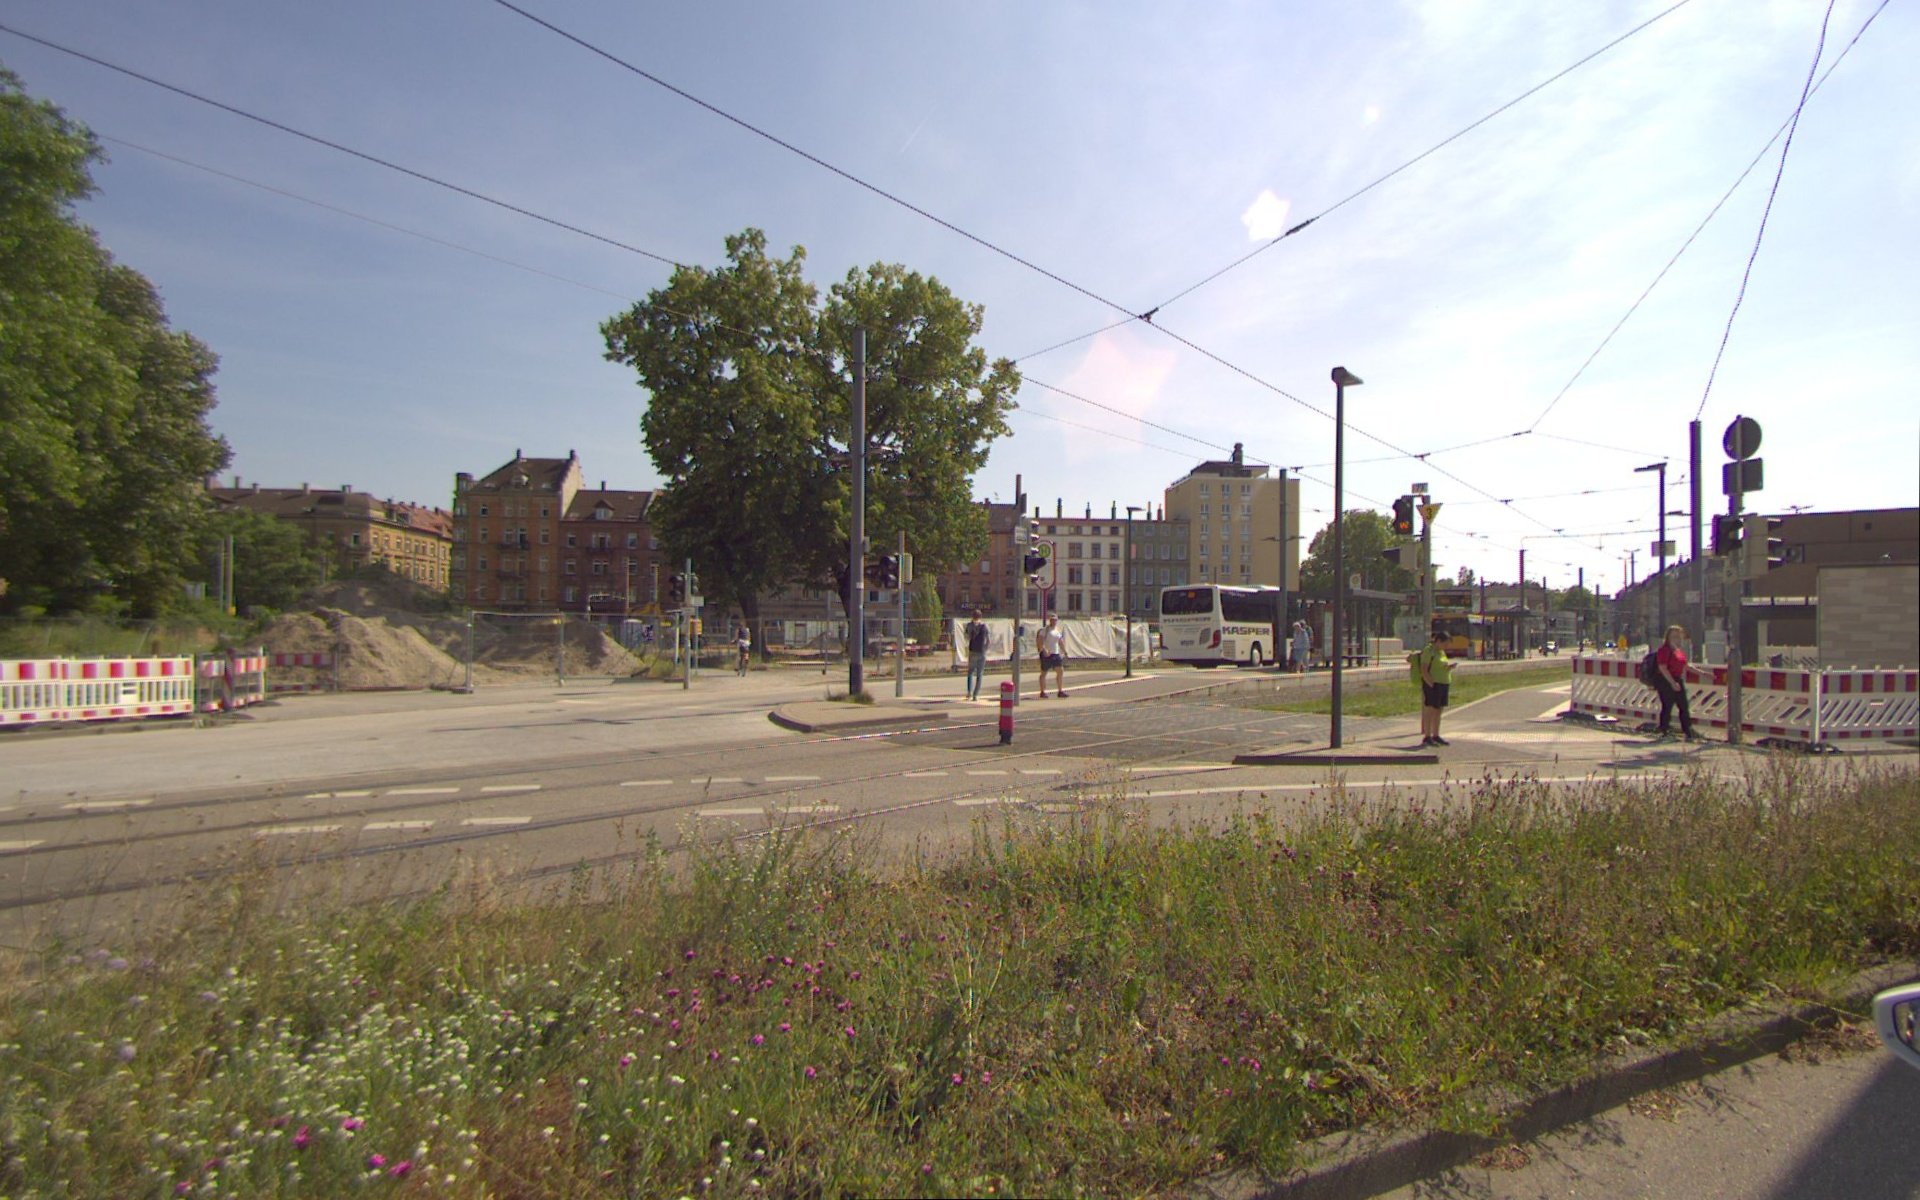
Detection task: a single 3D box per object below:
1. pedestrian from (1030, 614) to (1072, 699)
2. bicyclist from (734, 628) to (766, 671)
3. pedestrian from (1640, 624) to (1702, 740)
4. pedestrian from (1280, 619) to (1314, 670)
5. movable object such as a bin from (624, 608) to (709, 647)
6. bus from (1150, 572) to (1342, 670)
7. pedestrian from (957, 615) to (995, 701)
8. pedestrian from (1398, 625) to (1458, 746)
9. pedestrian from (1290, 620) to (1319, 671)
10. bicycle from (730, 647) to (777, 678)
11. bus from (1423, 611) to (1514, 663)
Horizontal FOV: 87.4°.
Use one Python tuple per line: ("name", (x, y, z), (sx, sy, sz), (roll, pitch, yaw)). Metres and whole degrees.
("pedestrian", (1.997, 1.228, 22.072), (0.825, 1.836, 0.649), (0, -1, -4))
("bicyclist", (-6.937, 1.612, 33.111), (0.613, 1.378, 1.162), (1, -2, -35))
("pedestrian", (10.231, 1.167, 14.457), (0.674, 1.637, 0.350), (1, -2, -14))
("pedestrian", (10.835, 1.419, 32.306), (0.655, 1.637, 0.787), (0, -1, -32))
("movable object such as a bin", (-23.620, 2.271, 80.851), (6.453, 3.049, 2.572), (1, -2, -20))
("bus", (12.303, 0.968, 41.929), (2.820, 3.535, 12.598), (-1, -3, 40))
("pedestrian", (0.326, 1.194, 21.032), (0.549, 1.735, 0.933), (0, -1, -16))
("pedestrian", (6.301, 1.136, 13.535), (0.654, 1.564, 0.423), (1, 2, 19))
("pedestrian", (11.406, 1.496, 33.281), (0.579, 1.637, 0.684), (0, -1, -30))
("bicycle", (-6.741, 2.026, 32.754), (0.755, 0.935, 2.050), (1, -2, -35))
("bus", (35.480, 2.593, 69.790), (2.820, 3.324, 12.598), (-1, -3, 40))
